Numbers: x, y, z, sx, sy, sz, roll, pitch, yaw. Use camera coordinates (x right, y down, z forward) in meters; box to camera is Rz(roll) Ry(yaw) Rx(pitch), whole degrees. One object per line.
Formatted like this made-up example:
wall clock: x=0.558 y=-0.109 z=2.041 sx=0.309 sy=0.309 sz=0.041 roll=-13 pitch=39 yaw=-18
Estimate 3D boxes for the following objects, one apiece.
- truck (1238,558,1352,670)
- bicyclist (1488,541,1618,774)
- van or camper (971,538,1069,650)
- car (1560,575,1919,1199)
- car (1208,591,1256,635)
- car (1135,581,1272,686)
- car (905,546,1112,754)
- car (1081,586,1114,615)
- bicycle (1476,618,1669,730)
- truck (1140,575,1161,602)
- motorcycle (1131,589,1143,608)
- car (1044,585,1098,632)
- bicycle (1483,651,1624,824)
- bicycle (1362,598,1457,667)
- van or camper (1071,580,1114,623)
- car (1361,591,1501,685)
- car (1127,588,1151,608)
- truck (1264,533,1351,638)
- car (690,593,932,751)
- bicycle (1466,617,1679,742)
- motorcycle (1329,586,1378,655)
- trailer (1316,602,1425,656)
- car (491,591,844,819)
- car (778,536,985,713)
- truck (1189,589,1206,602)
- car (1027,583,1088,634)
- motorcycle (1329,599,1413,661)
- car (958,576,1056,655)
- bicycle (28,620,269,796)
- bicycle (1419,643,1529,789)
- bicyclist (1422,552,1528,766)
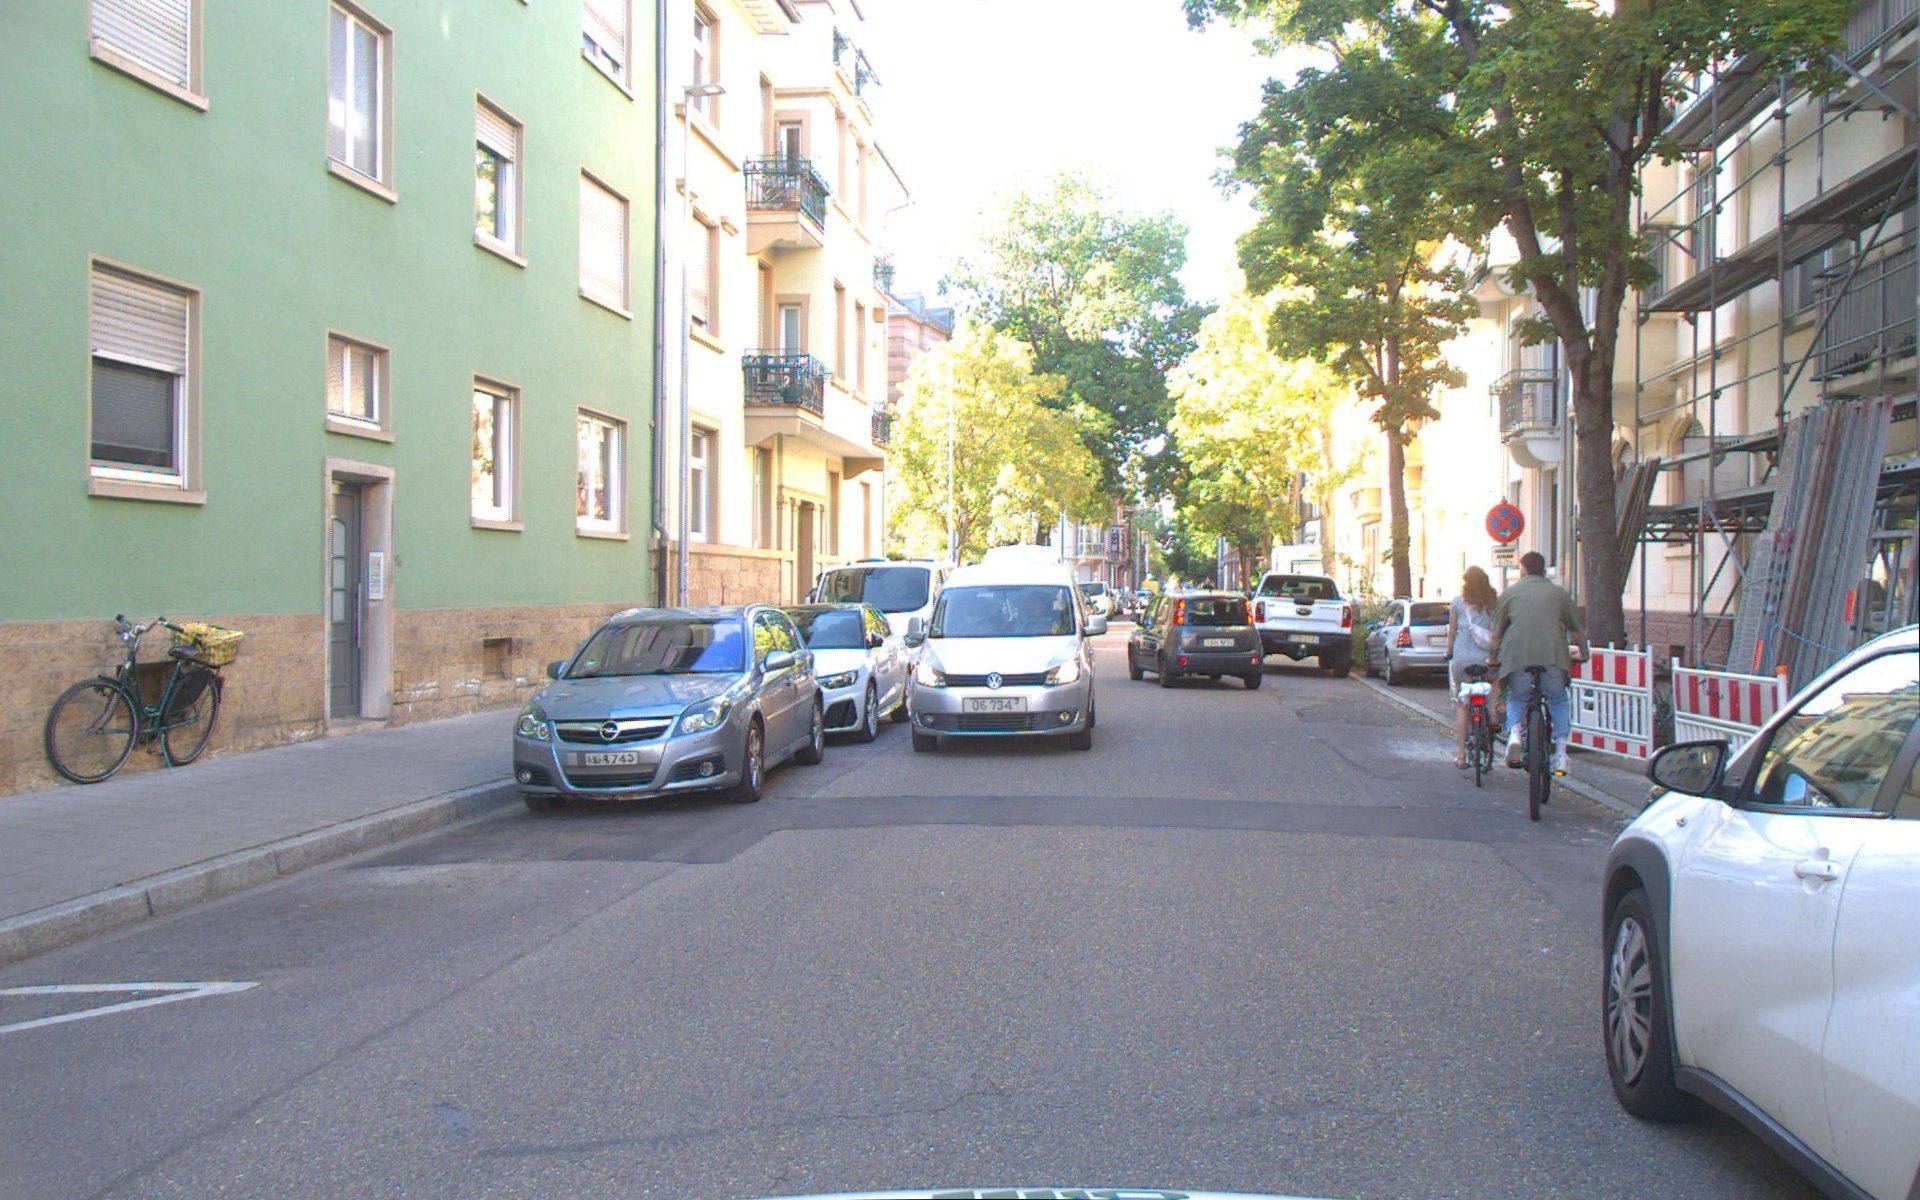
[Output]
truck: x=6.462 y=0.218 z=32.382 sx=1.789 sy=1.983 sz=5.545 roll=1 pitch=1 yaw=8
bicyclist: x=4.281 y=0.391 z=11.997 sx=0.739 sy=1.592 sz=0.982 roll=2 pitch=0 yaw=13
van or camper: x=1.733 y=-0.172 z=45.573 sx=2.083 sy=2.817 sz=5.856 roll=-2 pitch=0 yaw=7
car: x=2.693 y=0.752 z=3.708 sx=1.764 sy=1.562 sz=3.967 roll=1 pitch=1 yaw=9
car: x=10.471 y=0.479 z=63.814 sx=1.643 sy=1.571 sz=3.803 roll=1 pitch=1 yaw=7
car: x=3.871 y=0.496 z=26.740 sx=1.600 sy=1.577 sz=3.263 roll=0 pitch=0 yaw=-3
car: x=0.645 y=0.465 z=17.480 sx=1.733 sy=1.875 sz=4.419 roll=-2 pitch=0 yaw=7
car: x=8.238 y=0.000 z=98.914 sx=1.786 sy=1.581 sz=4.136 roll=-4 pitch=0 yaw=5
bicycle: x=6.702 y=0.790 z=18.195 sx=1.935 sy=1.141 sz=0.748 roll=1 pitch=1 yaw=18
truck: x=21.568 y=-1.295 z=187.274 sx=2.026 sy=2.977 sz=5.072 roll=-4 pitch=0 yaw=8
motorcycle: x=14.078 y=-0.160 z=131.820 sx=0.682 sy=1.486 sz=1.750 roll=-1 pitch=0 yaw=-2
car: x=4.210 y=0.292 z=62.462 sx=1.640 sy=1.600 sz=4.155 roll=-3 pitch=0 yaw=8
bicycle: x=4.263 y=0.946 z=11.992 sx=0.723 sy=1.078 sz=1.859 roll=2 pitch=0 yaw=13
bicycle: x=8.785 y=0.624 z=32.340 sx=1.721 sy=1.328 sz=0.587 roll=0 pitch=0 yaw=6
van or camper: x=6.682 y=0.076 z=83.164 sx=1.881 sy=2.014 sz=5.466 roll=-3 pitch=0 yaw=7
car: x=8.014 y=0.590 z=28.474 sx=1.644 sy=1.447 sz=4.434 roll=-1 pitch=0 yaw=7
car: x=14.645 y=-0.161 z=135.074 sx=1.758 sy=1.456 sz=3.928 roll=-3 pitch=0 yaw=9
truck: x=10.881 y=-0.460 z=52.153 sx=2.029 sy=3.020 sz=6.114 roll=-2 pitch=0 yaw=7
car: x=-1.508 y=0.701 z=18.457 sx=1.794 sy=1.488 sz=4.366 roll=-2 pitch=0 yaw=6
bicycle: x=6.201 y=0.775 z=16.797 sx=1.892 sy=1.141 sz=0.744 roll=1 pitch=1 yaw=38
motorcycle: x=9.017 y=0.448 z=37.944 sx=0.910 sy=1.512 sz=2.140 roll=1 pitch=0 yaw=9
trailer: x=8.918 y=0.618 z=36.020 sx=2.040 sy=1.131 sz=1.114 roll=1 pitch=0 yaw=-6
car: x=-2.149 y=0.710 z=13.470 sx=1.683 sy=1.488 sz=4.510 roll=-2 pitch=0 yaw=5
car: x=-0.985 y=0.314 z=24.080 sx=2.204 sy=2.206 sz=5.247 roll=-2 pitch=0 yaw=5
truck: x=27.967 y=-0.554 z=194.814 sx=1.951 sy=1.482 sz=4.003 roll=0 pitch=1 yaw=7
car: x=3.360 y=0.264 z=56.310 sx=1.742 sy=1.618 sz=4.472 roll=-2 pitch=0 yaw=7
motorcycle: x=8.633 y=0.629 z=34.694 sx=1.742 sy=1.262 sz=0.695 roll=0 pitch=0 yaw=-32
car: x=1.204 y=0.326 z=39.822 sx=1.835 sy=1.715 sz=4.973 roll=-2 pitch=0 yaw=7
bicycle: x=-5.751 y=0.723 z=11.857 sx=0.476 sy=1.094 sz=1.971 roll=4 pitch=0 yaw=7
bicycle: x=4.292 y=0.932 z=13.918 sx=0.691 sy=1.063 sz=1.859 roll=3 pitch=0 yaw=13
bicyclist: x=4.354 y=0.478 z=14.032 sx=0.699 sy=1.718 sz=0.982 roll=3 pitch=0 yaw=12
